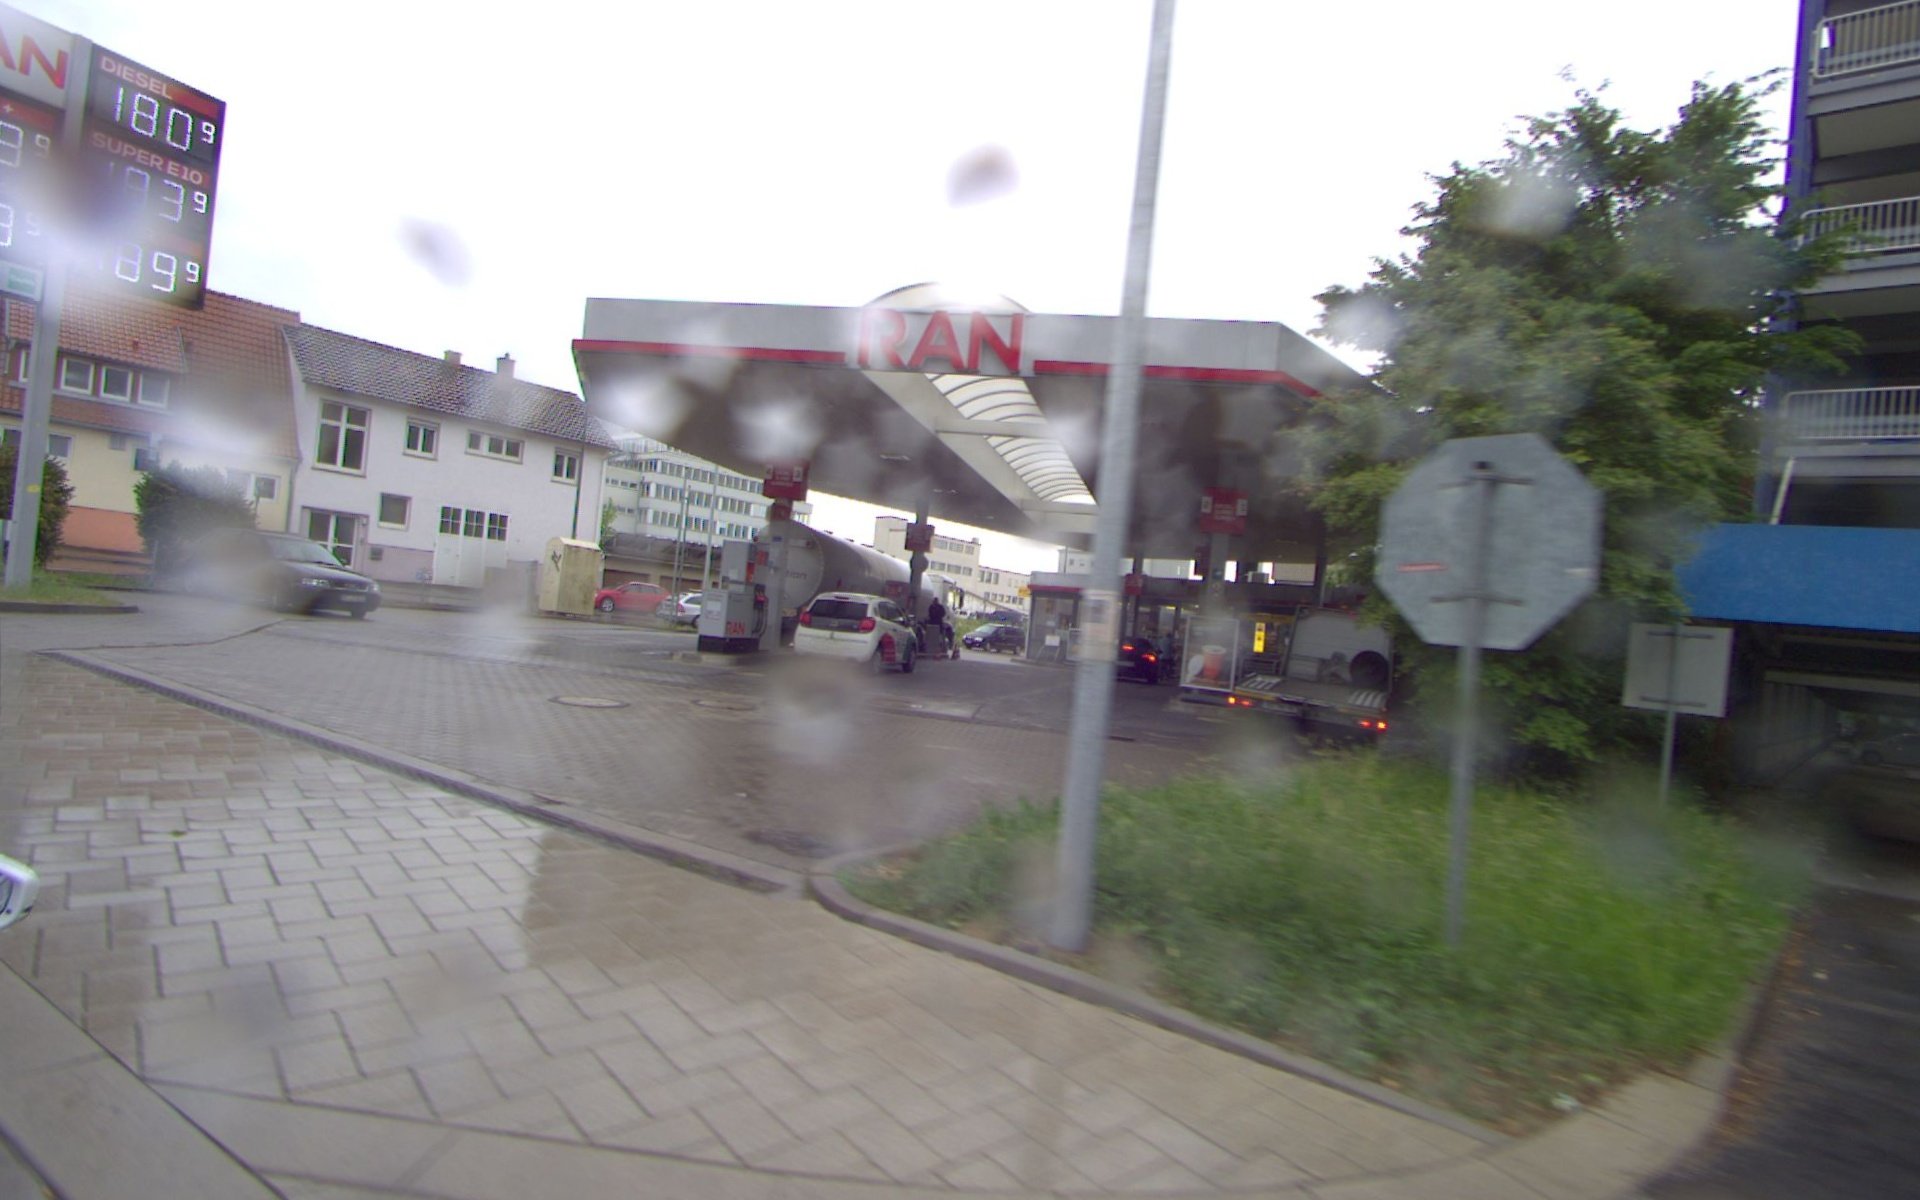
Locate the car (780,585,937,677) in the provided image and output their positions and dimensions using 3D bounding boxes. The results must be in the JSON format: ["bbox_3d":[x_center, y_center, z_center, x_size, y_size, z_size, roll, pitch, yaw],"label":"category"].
[{"bbox_3d":[-1.885,0.653,20.068,1.742,1.444,4.003,7,-1,14],"label":"car"}]

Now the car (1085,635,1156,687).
[{"bbox_3d":[4.710,1.719,29.078,1.709,1.227,4.002,5,-1,12],"label":"car"}]

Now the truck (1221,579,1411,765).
[{"bbox_3d":[6.352,1.108,17.216,2.048,2.235,7.290,10,2,25],"label":"truck"}]

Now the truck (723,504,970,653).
[{"bbox_3d":[-2.938,-0.213,33.235,2.597,3.398,14.427,9,-1,15],"label":"truck"}]

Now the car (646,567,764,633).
[{"bbox_3d":[-9.899,0.034,39.285,1.969,2.038,3.989,7,0,35],"label":"car"}]

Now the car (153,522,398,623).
[{"bbox_3d":[-13.148,-0.527,19.336,4.260,1.356,1.694,7,-1,21],"label":"car"}]

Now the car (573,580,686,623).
[{"bbox_3d":[-14.470,0.095,44.242,1.971,1.393,4.241,8,0,40],"label":"car"}]
